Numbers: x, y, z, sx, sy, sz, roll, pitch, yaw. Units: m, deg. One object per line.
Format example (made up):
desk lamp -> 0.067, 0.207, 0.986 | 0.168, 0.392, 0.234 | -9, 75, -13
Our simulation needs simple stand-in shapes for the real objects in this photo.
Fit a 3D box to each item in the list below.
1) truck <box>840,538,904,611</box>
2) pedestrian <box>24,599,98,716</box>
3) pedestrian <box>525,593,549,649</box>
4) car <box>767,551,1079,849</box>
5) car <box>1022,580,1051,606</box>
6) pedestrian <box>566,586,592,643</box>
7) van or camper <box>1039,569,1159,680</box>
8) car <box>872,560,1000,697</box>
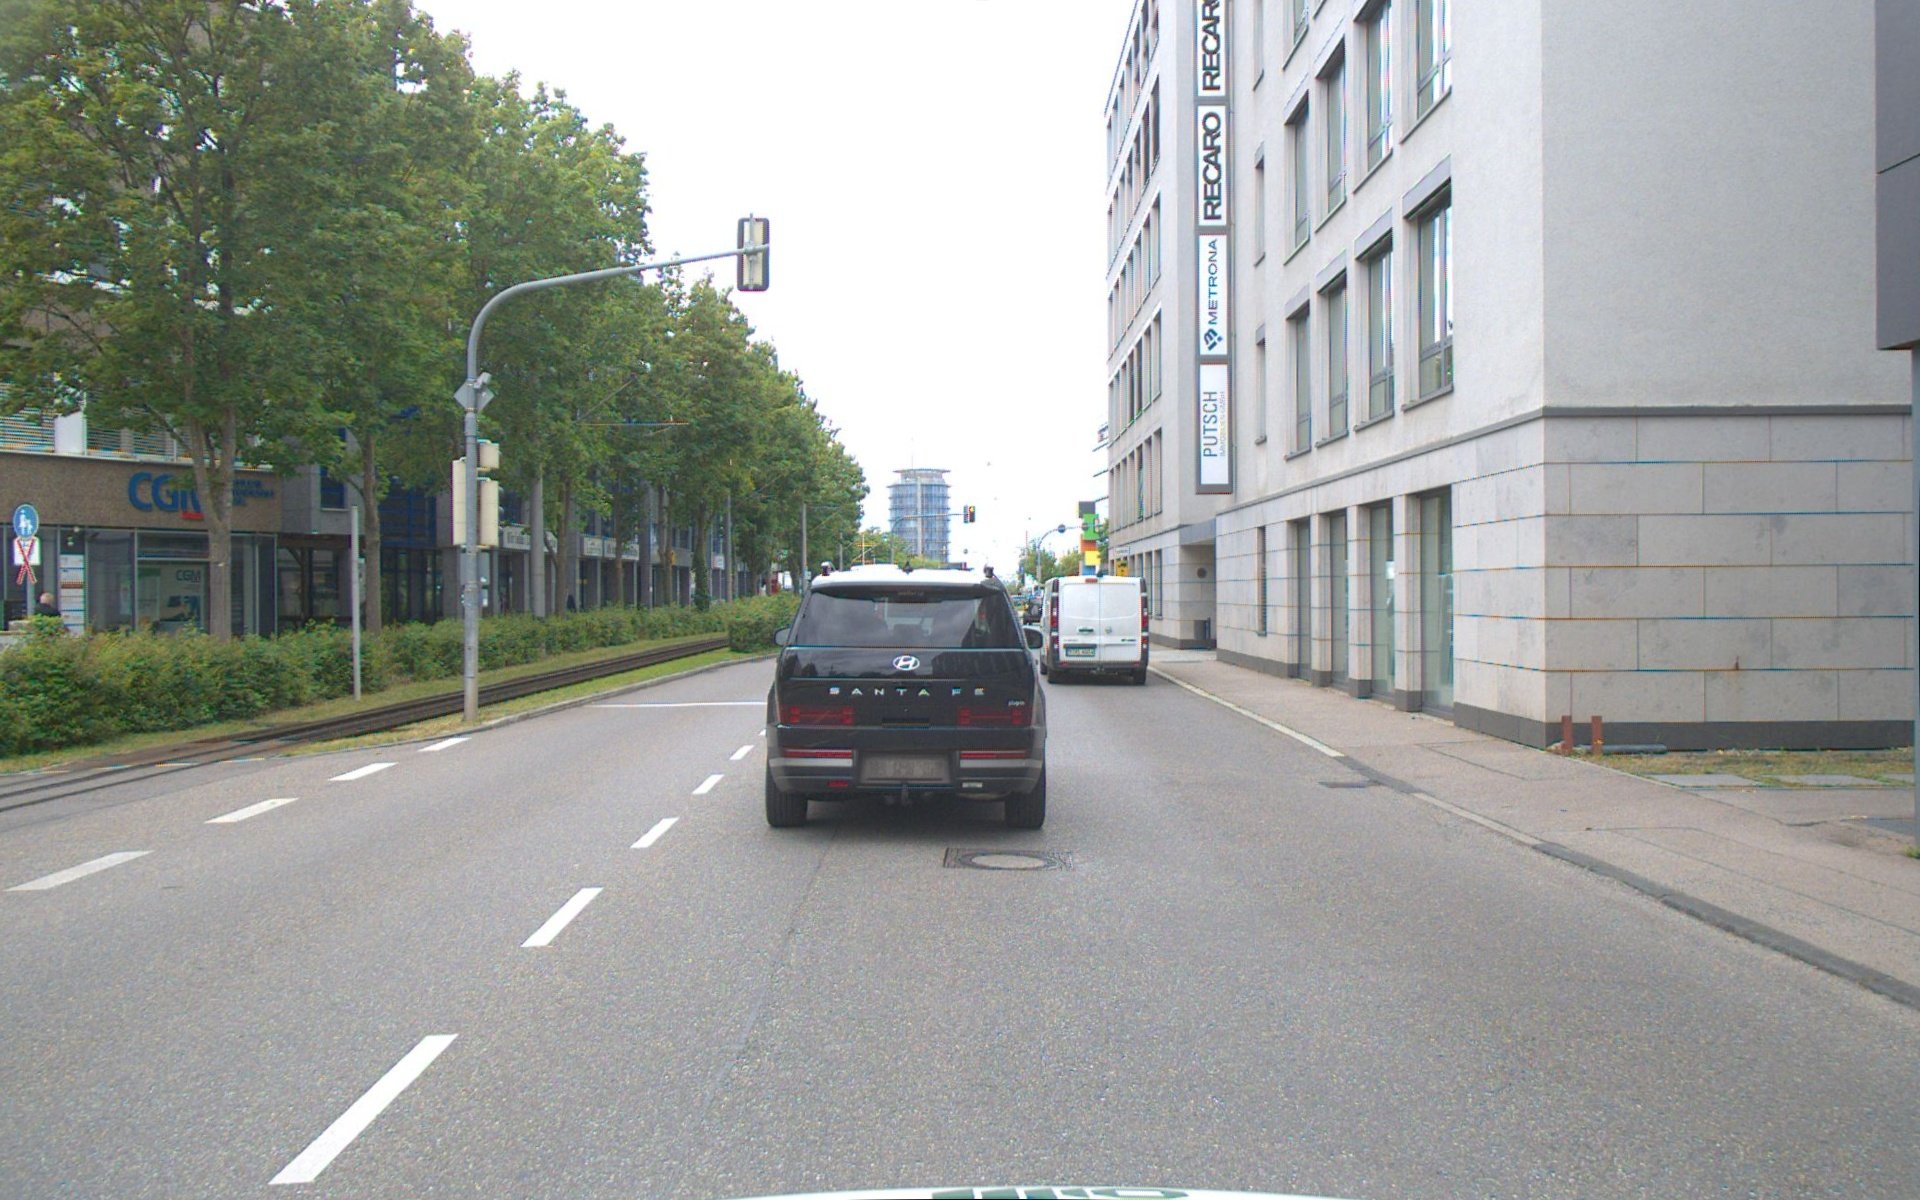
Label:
truck -> -3.371, -0.984, 64.436 | 2.121, 2.661, 5.796 | -2, 1, 0
pedestrian -> -13.841, 0.874, 25.478 | 0.673, 1.735, 0.683 | -3, 0, 3
pedestrian -> -15.650, 0.769, 61.162 | 0.667, 2.048, 0.571 | -2, 0, 0
car -> -0.395, 0.596, 12.163 | 1.871, 1.780, 4.392 | 0, 0, -5
car -> 4.984, -0.482, 107.327 | 1.722, 1.637, 4.190 | -2, 1, 3
pedestrian -> -13.223, 0.505, 57.383 | 0.661, 1.941, 0.622 | -3, 0, 1
van or camper -> 2.565, 0.405, 31.512 | 1.952, 1.949, 4.332 | -1, 1, 1
car -> -0.482, 0.411, 27.595 | 1.893, 2.029, 4.532 | -2, 1, -3
